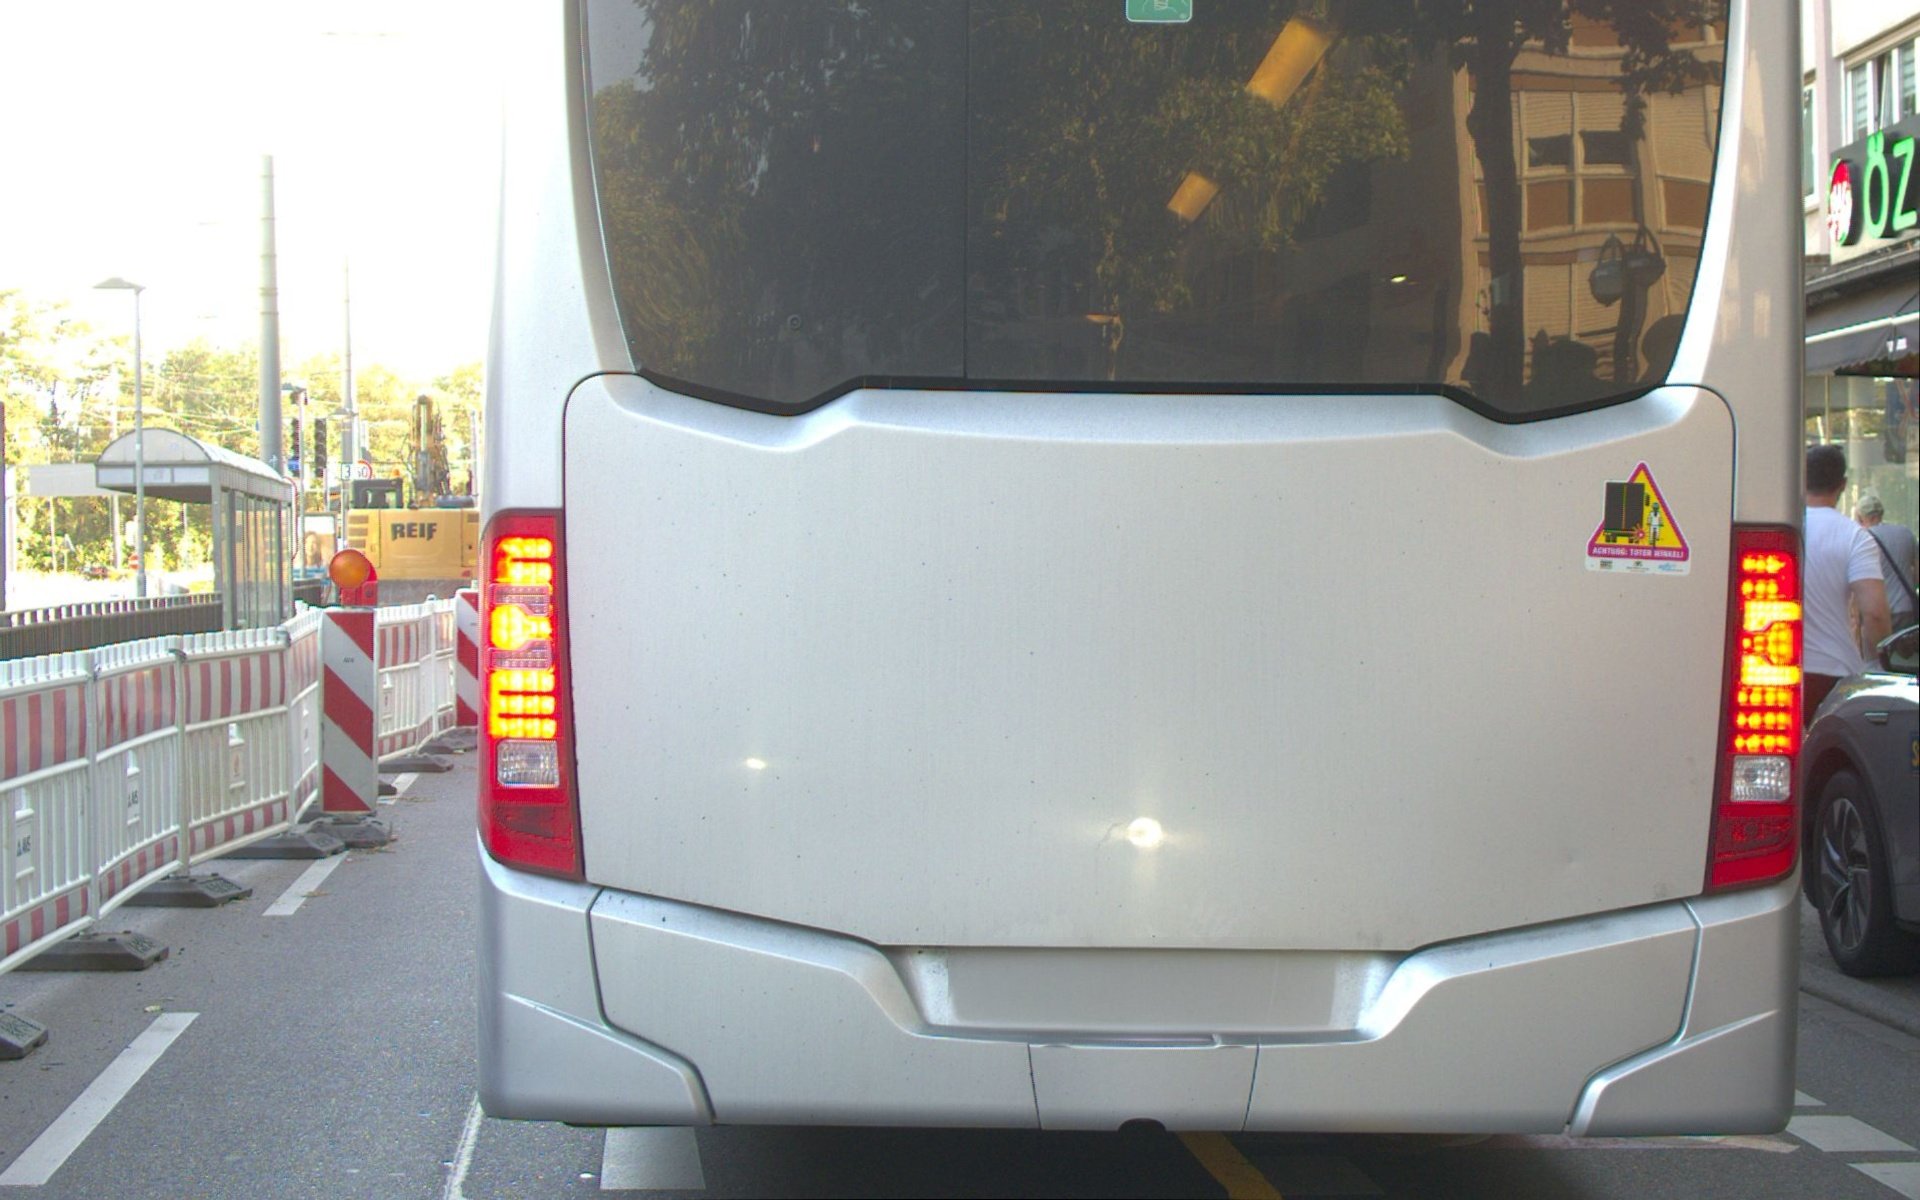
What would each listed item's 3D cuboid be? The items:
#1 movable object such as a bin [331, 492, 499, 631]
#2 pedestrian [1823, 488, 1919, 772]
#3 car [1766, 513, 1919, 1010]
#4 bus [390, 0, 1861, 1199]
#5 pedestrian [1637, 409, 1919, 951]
[{"bbox_3d":[-10.046,-0.722,63.673,2.806,2.453,4.001,-1,1,-5],"label":"movable object such as a bin"},{"bbox_3d":[6.665,0.207,24.735,0.690,2.007,0.696,-1,0,-2],"label":"pedestrian"},{"bbox_3d":[3.998,0.492,10.306,1.739,1.592,4.300,-3,1,-5],"label":"car"},{"bbox_3d":[0.269,-0.285,11.250,2.608,3.159,10.292,0,1,0],"label":"bus"},{"bbox_3d":[3.174,0.292,13.237,0.771,2.007,0.712,-2,1,45],"label":"pedestrian"}]
